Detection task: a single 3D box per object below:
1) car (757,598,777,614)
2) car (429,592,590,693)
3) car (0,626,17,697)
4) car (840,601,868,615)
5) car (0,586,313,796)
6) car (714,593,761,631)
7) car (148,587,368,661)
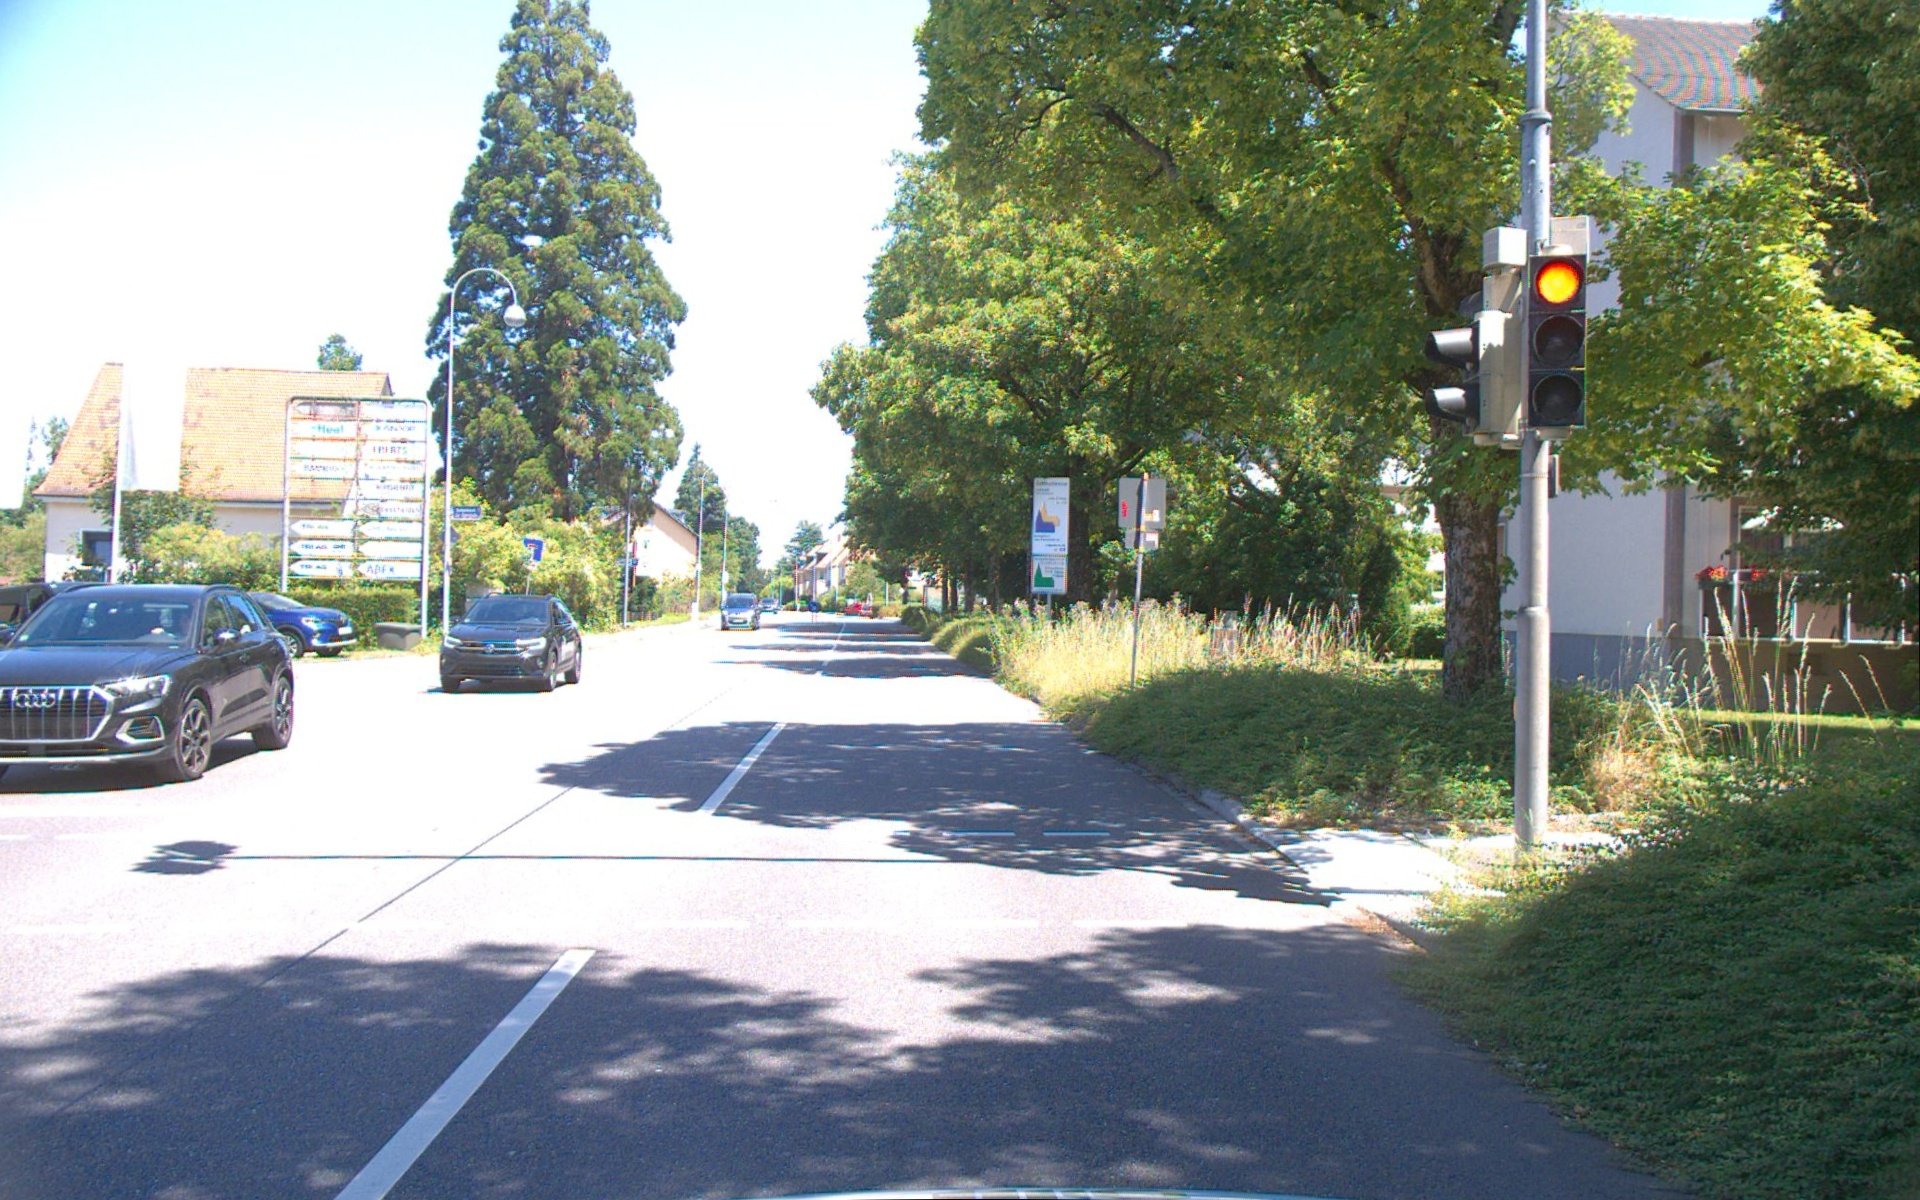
[{"bbox_3d":[-19.278,0.556,165.256,1.758,1.563,4.312,1,0,-3],"label":"car"},{"bbox_3d":[-7.305,0.651,27.224,1.832,1.533,4.049,0,0,-5],"label":"car"},{"bbox_3d":[-24.678,1.527,40.086,1.775,1.752,4.081,1,0,-8],"label":"car"},{"bbox_3d":[-11.177,0.831,174.015,1.914,1.383,4.439,0,0,-19],"label":"car"},{"bbox_3d":[-7.282,0.689,14.641,1.890,1.582,4.295,0,0,-8],"label":"car"},{"bbox_3d":[-11.004,0.560,82.034,1.774,1.793,4.569,1,0,-1],"label":"car"},{"bbox_3d":[-15.206,0.499,35.918,4.047,1.531,1.779,0,0,8],"label":"car"}]
